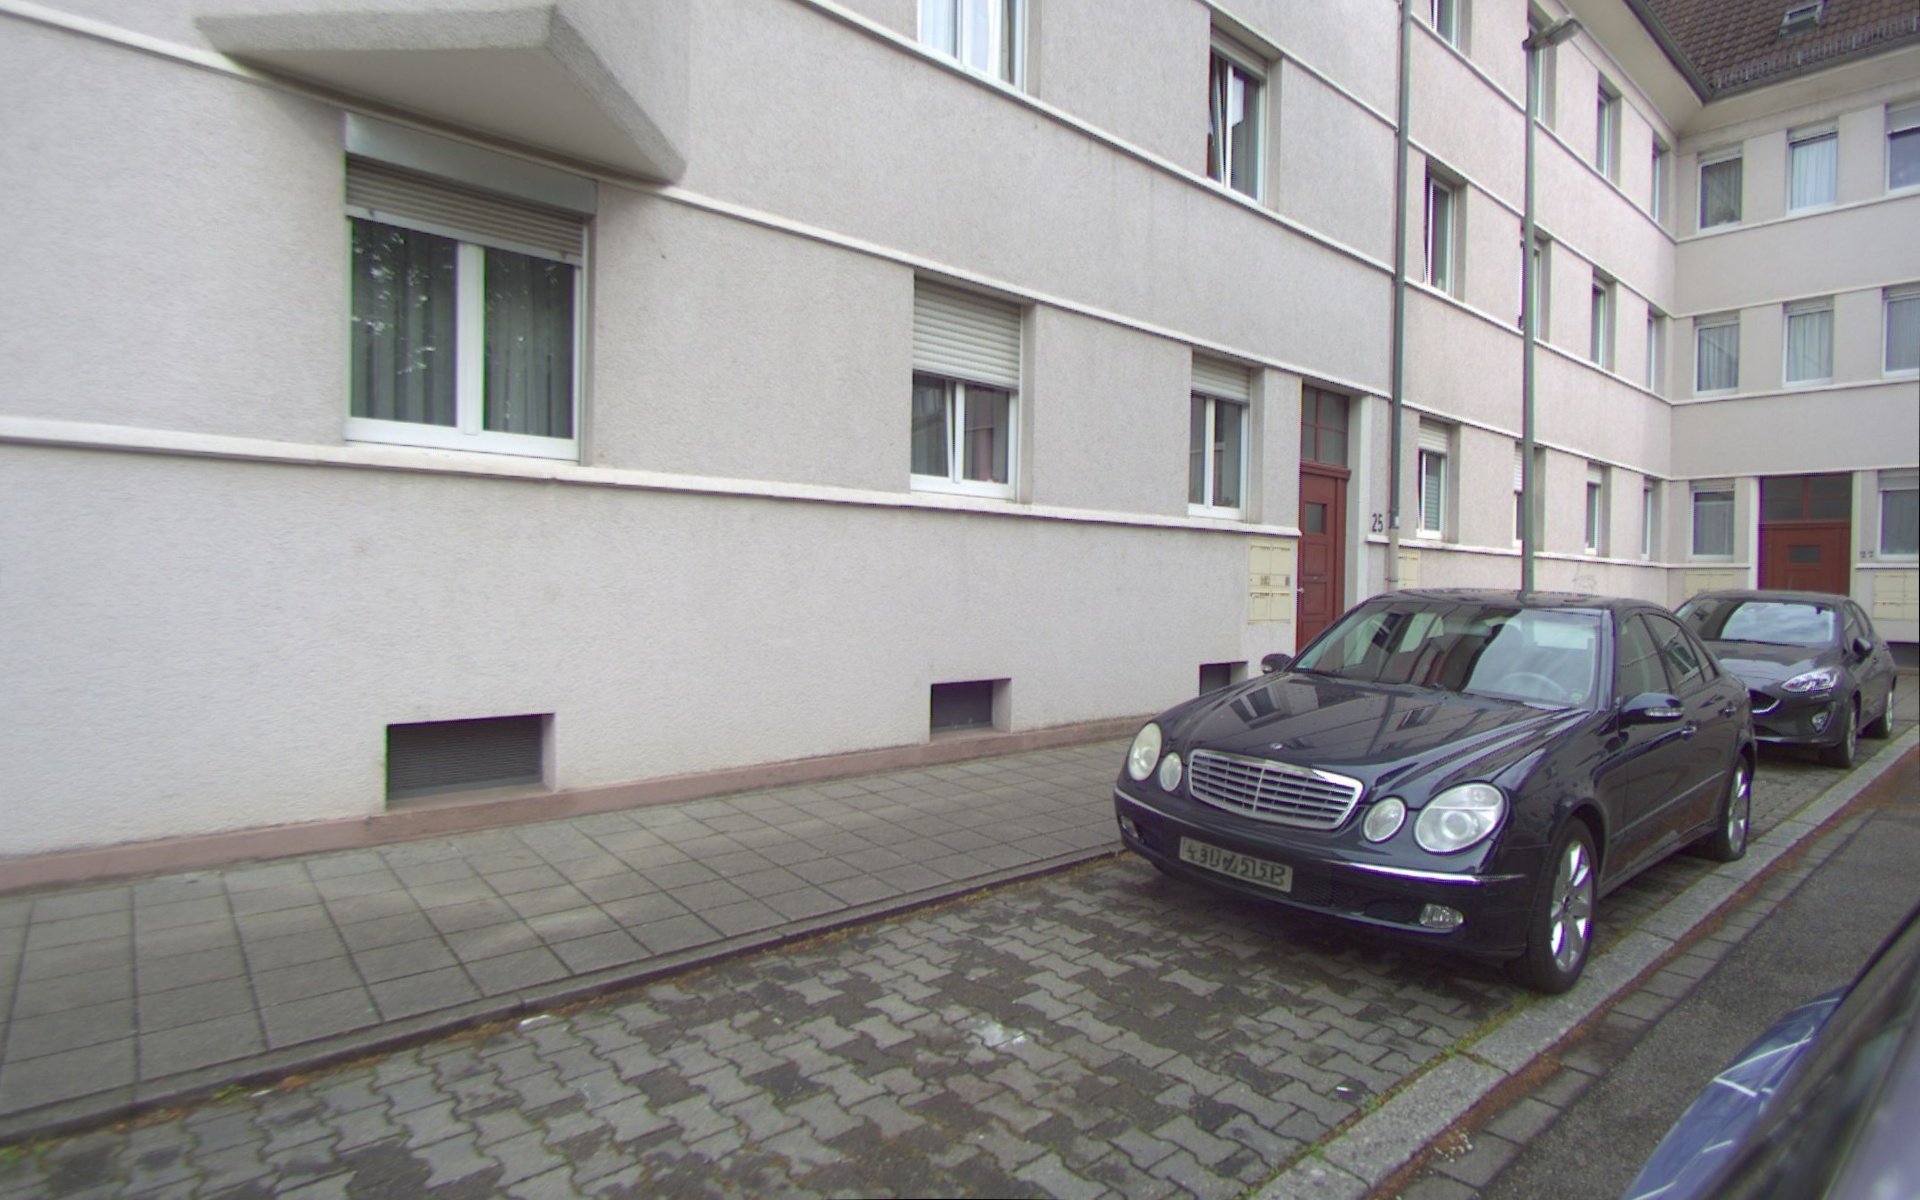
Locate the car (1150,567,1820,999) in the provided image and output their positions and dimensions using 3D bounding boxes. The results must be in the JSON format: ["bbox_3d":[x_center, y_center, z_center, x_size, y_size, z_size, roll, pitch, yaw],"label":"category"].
[{"bbox_3d":[3.281,0.601,5.702,4.865,1.438,1.748,0,2,-42],"label":"car"}]

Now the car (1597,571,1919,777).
[{"bbox_3d":[7.753,0.548,9.691,4.009,1.544,1.759,0,2,-42],"label":"car"}]
